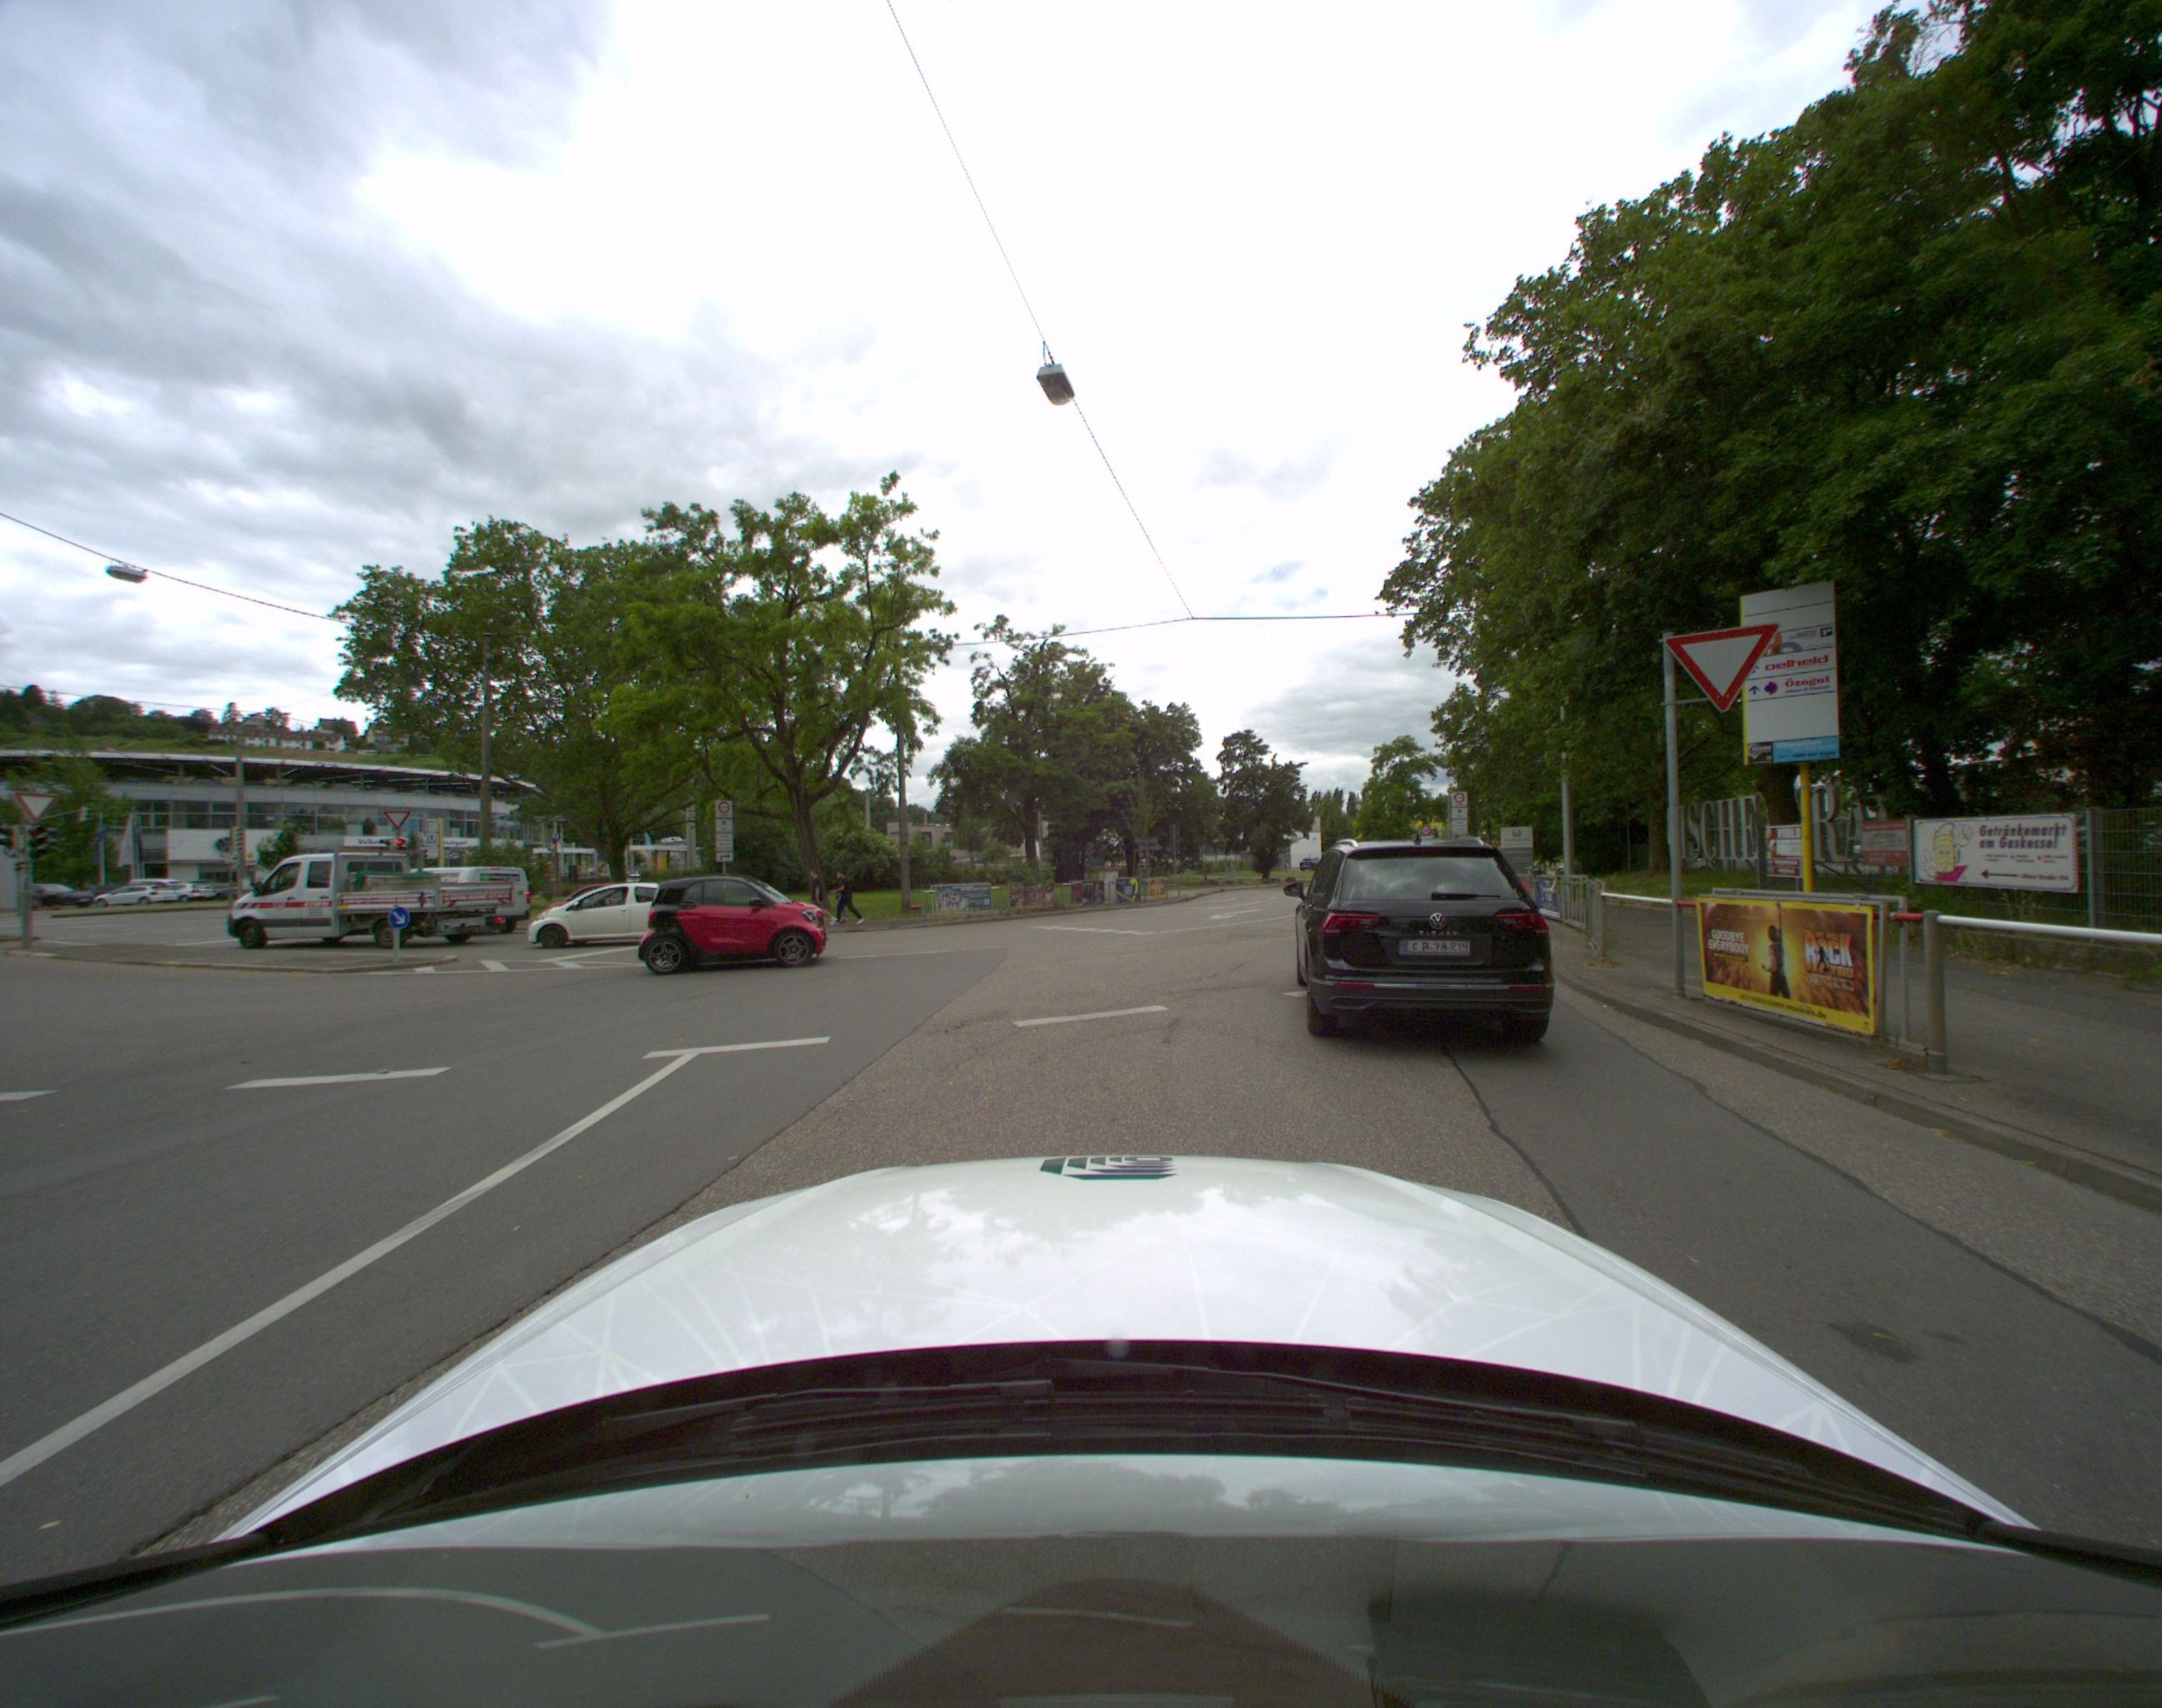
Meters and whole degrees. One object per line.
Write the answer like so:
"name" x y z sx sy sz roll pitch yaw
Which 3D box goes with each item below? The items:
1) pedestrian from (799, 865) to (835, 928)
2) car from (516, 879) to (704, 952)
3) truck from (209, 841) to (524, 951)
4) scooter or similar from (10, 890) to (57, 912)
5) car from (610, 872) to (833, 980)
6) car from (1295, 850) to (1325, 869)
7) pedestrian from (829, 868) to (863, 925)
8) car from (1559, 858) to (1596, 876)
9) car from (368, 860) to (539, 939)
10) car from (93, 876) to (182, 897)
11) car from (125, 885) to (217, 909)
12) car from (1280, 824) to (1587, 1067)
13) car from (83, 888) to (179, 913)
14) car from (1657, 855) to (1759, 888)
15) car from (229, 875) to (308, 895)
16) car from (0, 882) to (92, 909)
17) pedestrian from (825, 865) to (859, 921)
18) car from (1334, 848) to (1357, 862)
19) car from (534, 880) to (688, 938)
"pedestrian" -8.028 1.293 24.795 0.782 1.857 0.696 -2 0 3
"car" -10.947 1.394 19.151 3.420 1.432 1.638 -2 0 -11
"truck" -17.488 0.992 20.111 5.976 2.397 2.435 -2 0 7
"scooter or similar" -63.148 2.824 49.125 0.461 1.178 1.684 -2 -1 28
"car" -5.719 1.096 13.318 3.014 1.464 1.709 -2 0 -14
"car" 25.767 0.592 91.668 1.945 2.013 4.246 -1 0 35
"pedestrian" -7.273 1.314 25.247 0.782 1.714 0.696 -2 0 3
"car" 43.281 1.101 70.959 3.388 1.490 1.697 0 -1 -39
"car" -18.615 1.316 24.156 4.702 2.107 2.008 -2 0 25
"car" -75.005 2.542 64.797 4.220 1.492 1.782 -1 0 -24
"car" -65.090 3.041 58.327 4.197 1.492 1.791 -2 0 -8
"car" 2.916 0.607 7.702 1.832 1.635 4.199 0 0 11
"car" -65.175 3.181 55.927 4.009 1.501 1.769 -2 0 -10
"car" 31.020 0.863 40.398 3.690 1.505 1.487 -2 0 16
"car" -65.530 2.493 65.743 4.197 1.492 1.791 -2 0 -8
"car" -65.456 2.580 51.207 3.871 1.501 1.768 -1 0 -12
"pedestrian" -7.608 1.226 25.956 0.782 1.740 0.696 -2 0 3
"car" 39.033 0.098 120.166 1.945 2.013 4.246 -1 0 35
"car" -12.966 1.501 22.553 3.398 1.457 1.648 -2 -1 10
